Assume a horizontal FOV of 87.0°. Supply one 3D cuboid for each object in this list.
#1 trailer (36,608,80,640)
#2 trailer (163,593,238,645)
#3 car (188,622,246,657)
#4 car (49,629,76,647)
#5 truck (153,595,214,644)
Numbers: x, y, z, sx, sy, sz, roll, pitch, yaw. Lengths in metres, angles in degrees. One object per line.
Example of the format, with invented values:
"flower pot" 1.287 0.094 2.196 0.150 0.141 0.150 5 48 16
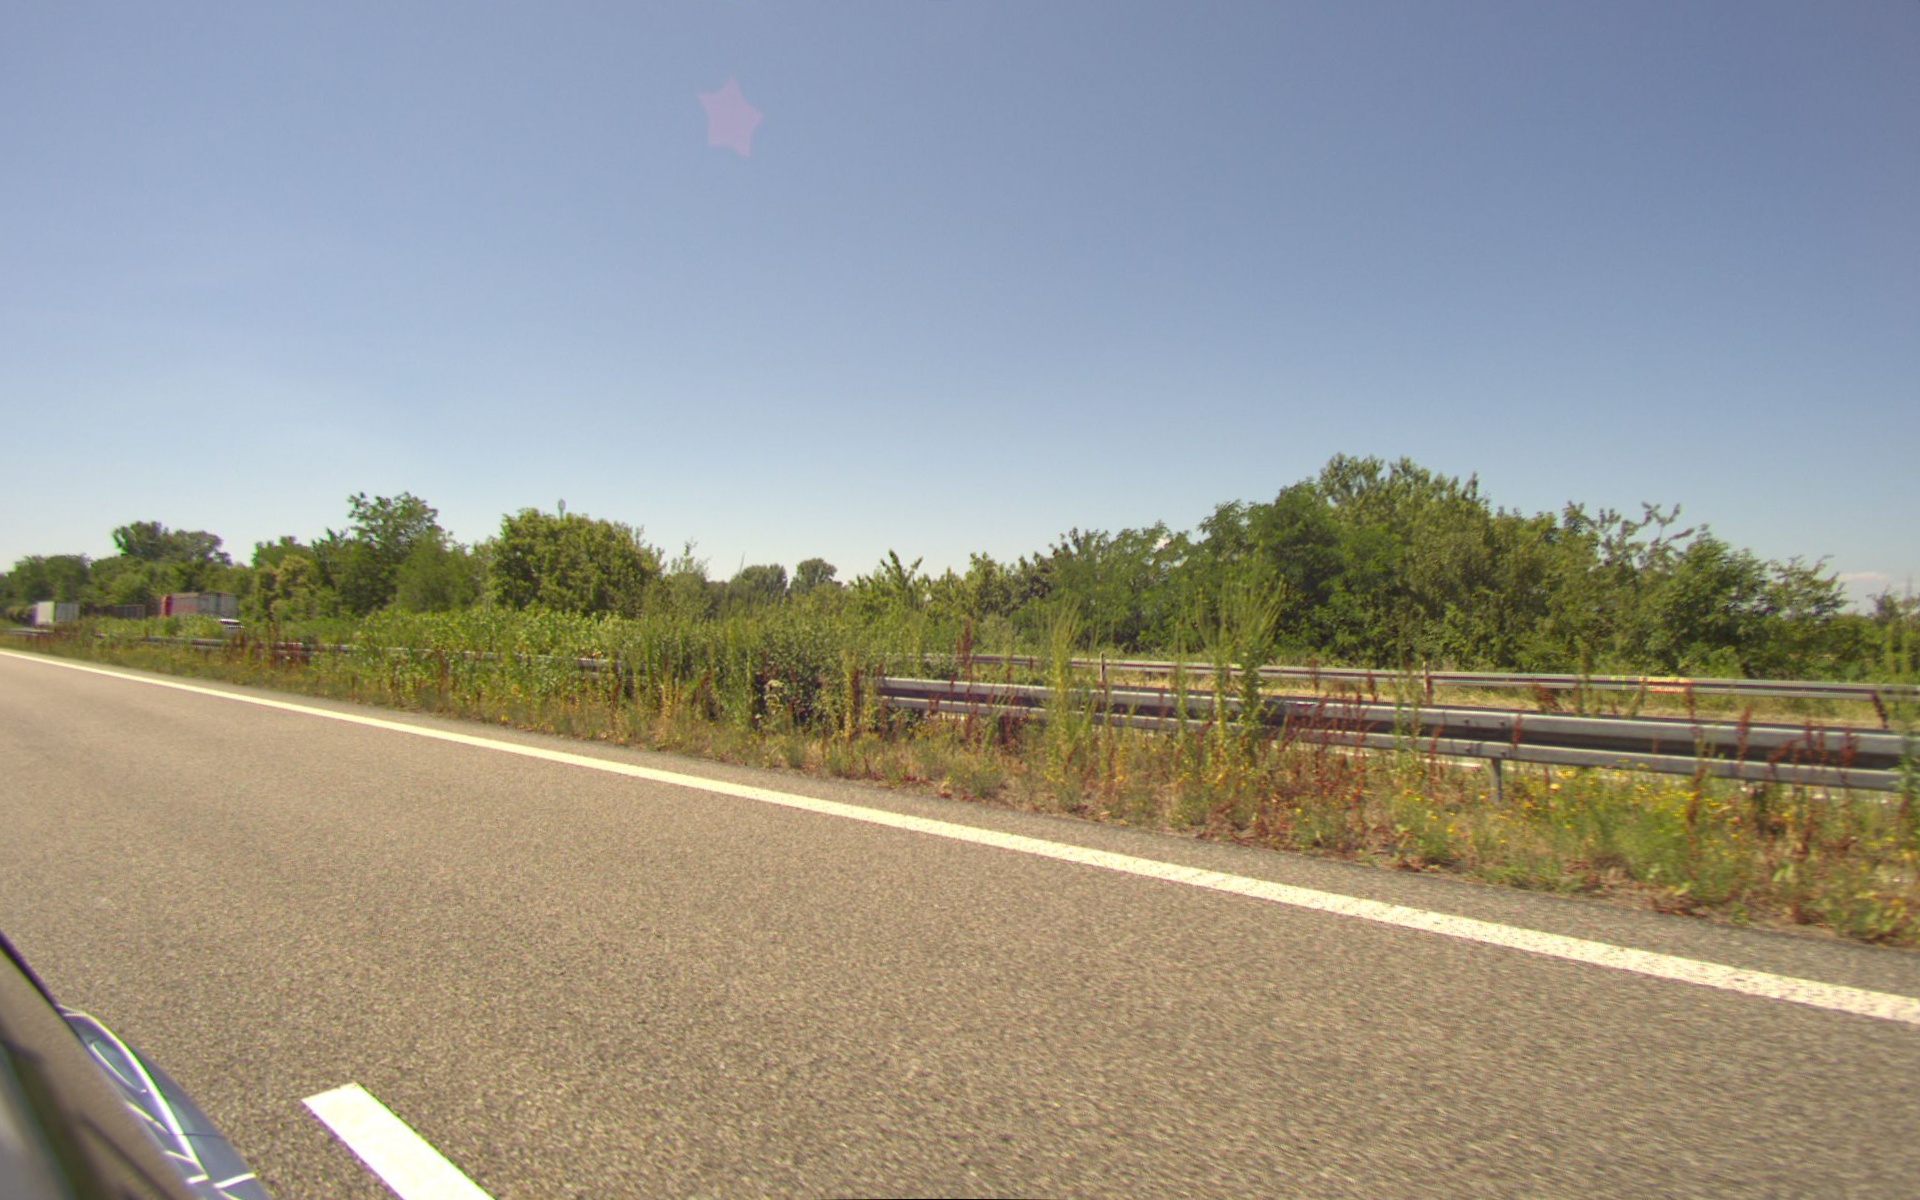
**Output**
"trailer" -115.764 3.057 129.799 12.317 4.005 2.901 -1 -1 42
"trailer" -61.831 1.522 82.227 10.625 4.005 2.900 -1 -1 42
"car" -45.472 2.367 61.888 3.996 2.029 1.974 -1 0 40
"car" -91.457 3.855 103.111 4.001 1.735 1.794 -1 0 43
"truck" -66.016 1.640 85.990 6.360 4.006 2.929 -1 -1 42
